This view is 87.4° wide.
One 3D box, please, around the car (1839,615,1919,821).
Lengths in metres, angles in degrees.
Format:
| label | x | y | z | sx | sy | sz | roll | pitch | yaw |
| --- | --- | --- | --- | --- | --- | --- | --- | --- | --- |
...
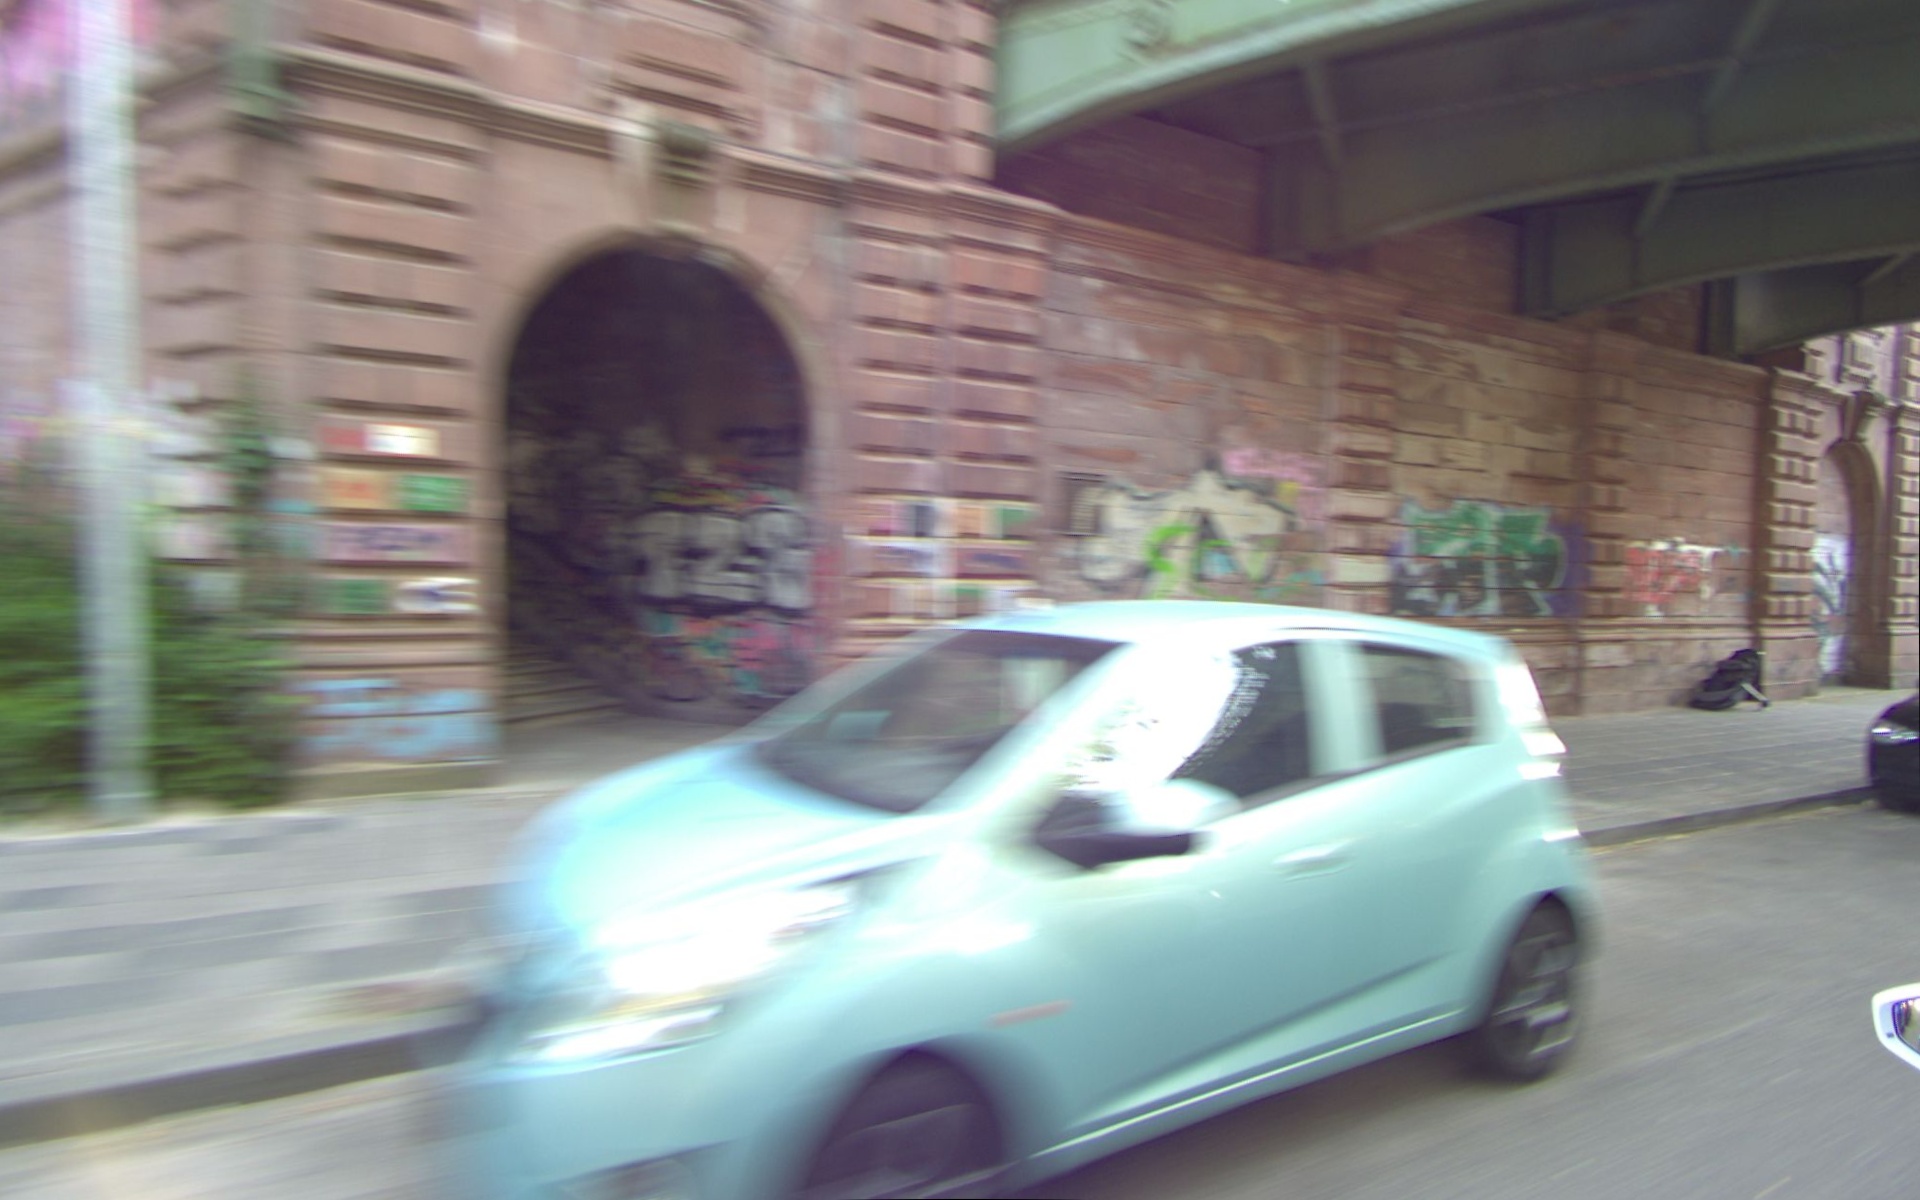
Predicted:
| label | x | y | z | sx | sy | sz | roll | pitch | yaw |
| --- | --- | --- | --- | --- | --- | --- | --- | --- | --- |
| car | 8.859 | 0.892 | 7.854 | 3.950 | 1.483 | 1.710 | 1 | 0 | -28 |

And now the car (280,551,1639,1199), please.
| label | x | y | z | sx | sy | sz | roll | pitch | yaw |
| --- | --- | --- | --- | --- | --- | --- | --- | --- | --- |
| car | 0.277 | 0.748 | 3.129 | 3.871 | 1.568 | 1.586 | 1 | 0 | -32 |
